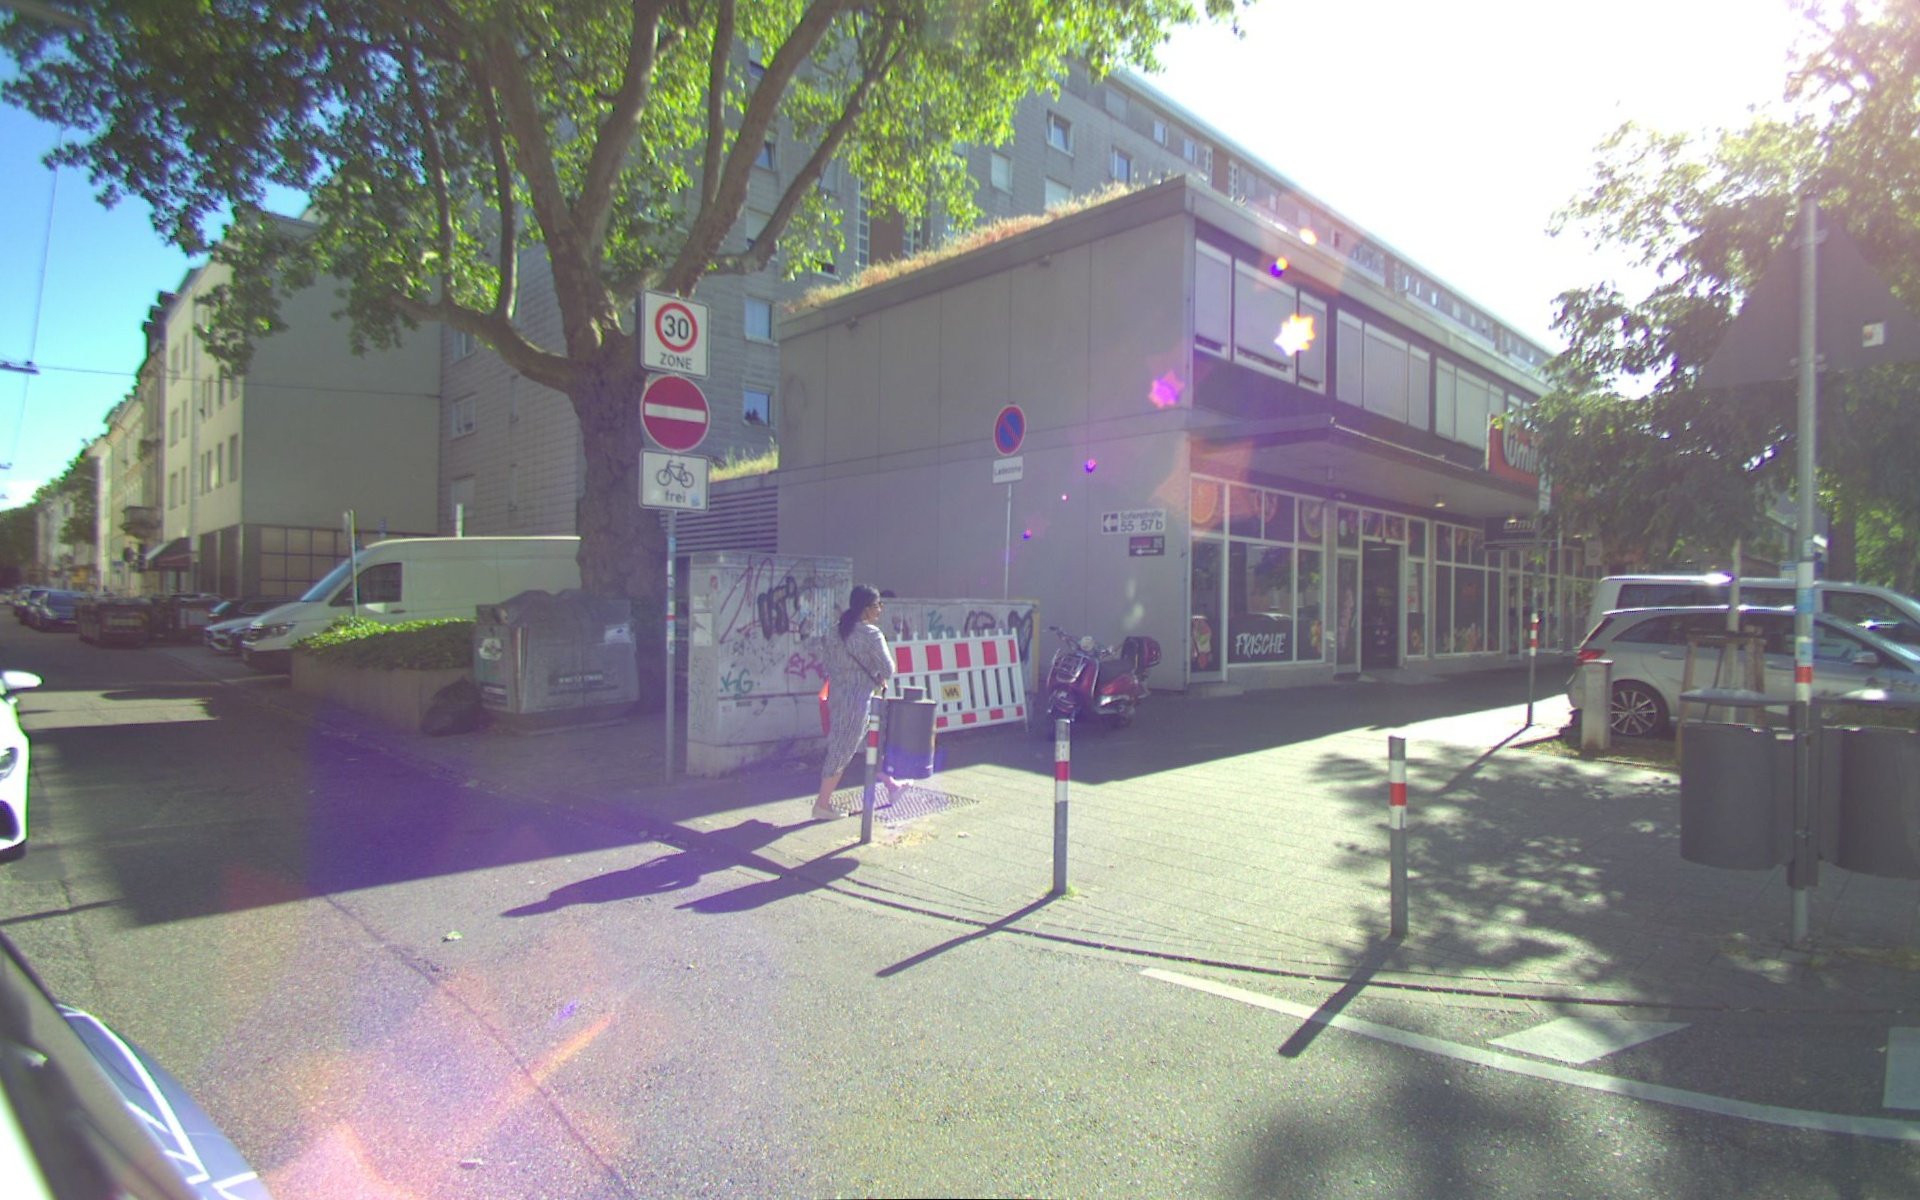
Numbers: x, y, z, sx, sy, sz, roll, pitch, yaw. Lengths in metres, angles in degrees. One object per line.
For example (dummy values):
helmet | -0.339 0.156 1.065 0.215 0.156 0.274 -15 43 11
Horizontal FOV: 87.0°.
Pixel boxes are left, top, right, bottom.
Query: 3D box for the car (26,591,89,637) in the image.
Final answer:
car | -35.992 0.546 40.314 1.740 1.721 4.332 1 -1 -43

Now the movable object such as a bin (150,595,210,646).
movable object such as a bin | -23.770 0.609 30.830 1.518 1.512 1.205 0 -1 44

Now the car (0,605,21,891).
car | -7.151 0.792 6.323 1.835 1.468 4.567 -1 1 -43

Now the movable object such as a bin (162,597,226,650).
movable object such as a bin | -22.632 0.687 29.894 1.195 1.512 1.310 0 -1 44

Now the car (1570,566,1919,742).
car | 10.874 0.610 13.126 4.747 2.021 1.931 2 0 44

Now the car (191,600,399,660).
car | -17.583 0.780 26.955 1.598 1.474 4.359 -1 -1 40

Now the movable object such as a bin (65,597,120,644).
movable object such as a bin | -28.318 0.656 33.025 1.561 1.512 1.205 0 -1 44

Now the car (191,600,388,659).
car | -18.960 0.802 28.794 1.697 1.545 4.359 -1 -1 40

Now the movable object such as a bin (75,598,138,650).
movable object such as a bin | -25.704 0.707 30.467 1.926 1.512 1.229 0 -1 44

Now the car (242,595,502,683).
car | -12.047 0.712 20.936 1.700 1.545 4.354 0 1 45

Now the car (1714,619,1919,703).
car | 17.826 1.170 19.855 4.673 1.505 1.801 0 -1 44

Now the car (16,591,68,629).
car | -44.008 0.470 48.495 1.740 1.721 4.332 1 -1 -43

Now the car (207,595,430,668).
car | -15.774 0.741 25.071 1.697 1.629 4.359 0 -1 40

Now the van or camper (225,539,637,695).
van or camper | -10.057 0.152 19.872 6.825 2.593 2.002 -3 2 -44

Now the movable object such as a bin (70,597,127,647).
movable object such as a bin | -27.094 0.679 31.826 1.561 1.512 1.205 0 -1 44

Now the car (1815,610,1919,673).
car | 31.895 1.385 33.603 1.637 1.996 5.233 2 -1 -45

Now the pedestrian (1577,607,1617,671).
pedestrian | 15.694 0.942 24.917 0.524 1.533 0.690 1 0 -42

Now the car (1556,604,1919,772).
car | 9.205 0.872 11.119 1.732 1.625 4.306 2 -1 -45

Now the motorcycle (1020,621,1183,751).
motorcycle | 1.519 0.843 10.611 1.893 1.189 0.670 -1 0 -44

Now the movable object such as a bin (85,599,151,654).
movable object such as a bin | -24.224 0.739 29.108 1.878 1.512 1.224 0 -1 44

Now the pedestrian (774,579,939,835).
pedestrian | -0.720 0.665 6.894 0.832 1.585 0.849 -2 1 -26
